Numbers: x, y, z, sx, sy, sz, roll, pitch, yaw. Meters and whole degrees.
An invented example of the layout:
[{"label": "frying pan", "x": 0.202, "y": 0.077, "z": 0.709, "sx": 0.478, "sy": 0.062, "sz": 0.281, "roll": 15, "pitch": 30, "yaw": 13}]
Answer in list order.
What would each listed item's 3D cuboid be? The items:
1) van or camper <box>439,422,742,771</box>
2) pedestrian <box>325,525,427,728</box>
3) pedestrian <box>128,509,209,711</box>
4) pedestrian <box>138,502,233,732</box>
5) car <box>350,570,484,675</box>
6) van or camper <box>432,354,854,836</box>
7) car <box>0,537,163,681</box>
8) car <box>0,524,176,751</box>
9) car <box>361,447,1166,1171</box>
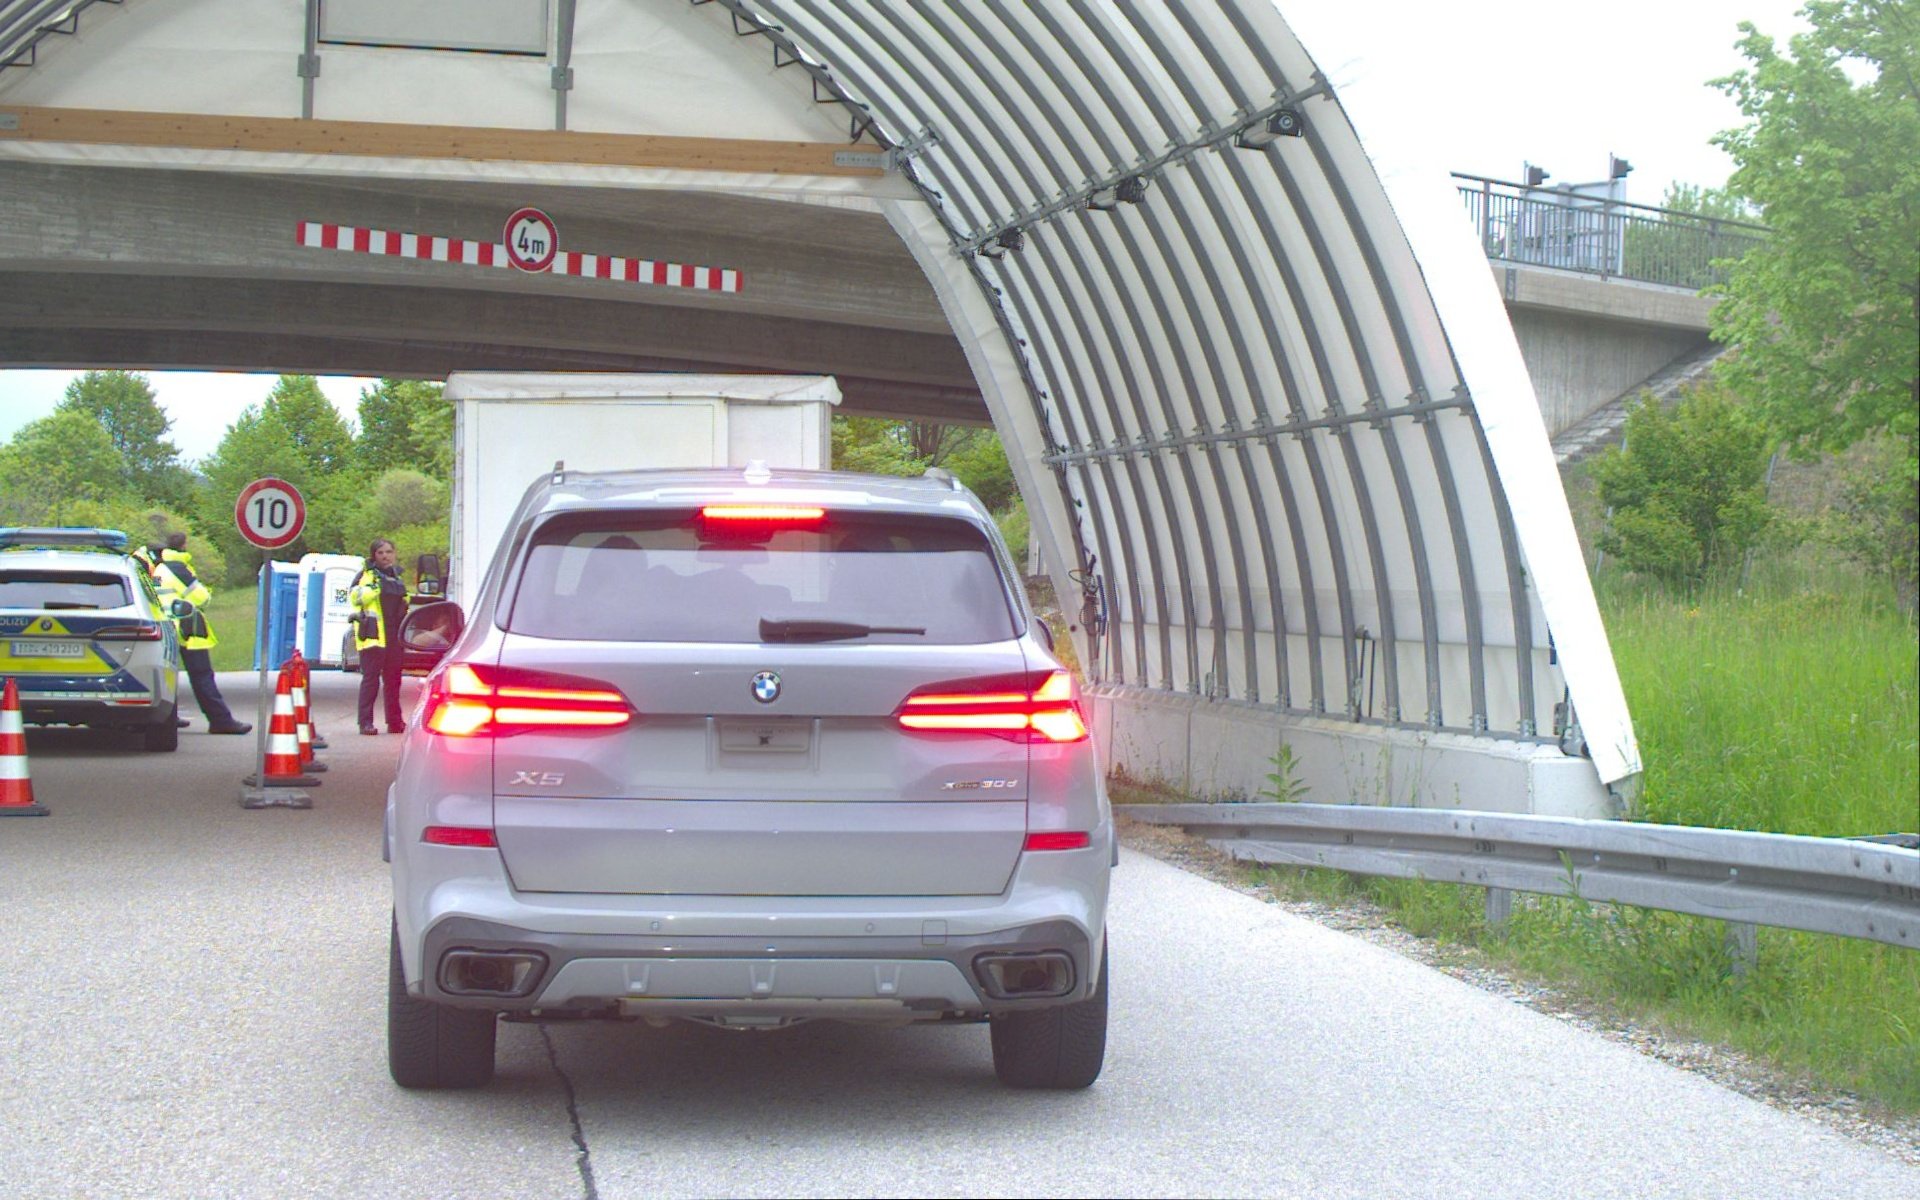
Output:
[{"label": "van or camper", "x": -3.081, "y": -0.049, "z": 27.620, "sx": 2.103, "sy": 2.510, "sz": 5.552, "roll": 0, "pitch": 0, "yaw": -9}, {"label": "pedestrian", "x": -5.024, "y": 0.223, "z": 29.562, "sx": 0.754, "sy": 1.716, "sz": 0.782, "roll": 0, "pitch": 0, "yaw": -18}, {"label": "pedestrian", "x": -6.935, "y": 0.082, "z": 30.143, "sx": 0.609, "sy": 1.748, "sz": 0.666, "roll": 0, "pitch": 0, "yaw": -6}, {"label": "pedestrian", "x": -6.557, "y": 0.138, "z": 29.074, "sx": 0.749, "sy": 1.912, "sz": 0.763, "roll": 0, "pitch": 0, "yaw": -15}, {"label": "car", "x": -9.275, "y": 0.358, "z": 58.539, "sx": 1.993, "sy": 1.716, "sz": 3.897, "roll": 0, "pitch": 0, "yaw": -13}, {"label": "van or camper", "x": -2.174, "y": -0.056, "z": 21.544, "sx": 2.229, "sy": 2.543, "sz": 6.612, "roll": 0, "pitch": 0, "yaw": -9}, {"label": "car", "x": -14.024, "y": 0.118, "z": 49.080, "sx": 4.807, "sy": 2.007, "sz": 1.840, "roll": 0, "pitch": 0, "yaw": 7}, {"label": "car", "x": -7.160, "y": 0.255, "z": 26.889, "sx": 1.877, "sy": 1.641, "sz": 4.001, "roll": 0, "pitch": 0, "yaw": -15}, {"label": "car", "x": -0.787, "y": 0.489, "z": 10.482, "sx": 1.993, "sy": 1.759, "sz": 4.001, "roll": 0, "pitch": 0, "yaw": -9}]
